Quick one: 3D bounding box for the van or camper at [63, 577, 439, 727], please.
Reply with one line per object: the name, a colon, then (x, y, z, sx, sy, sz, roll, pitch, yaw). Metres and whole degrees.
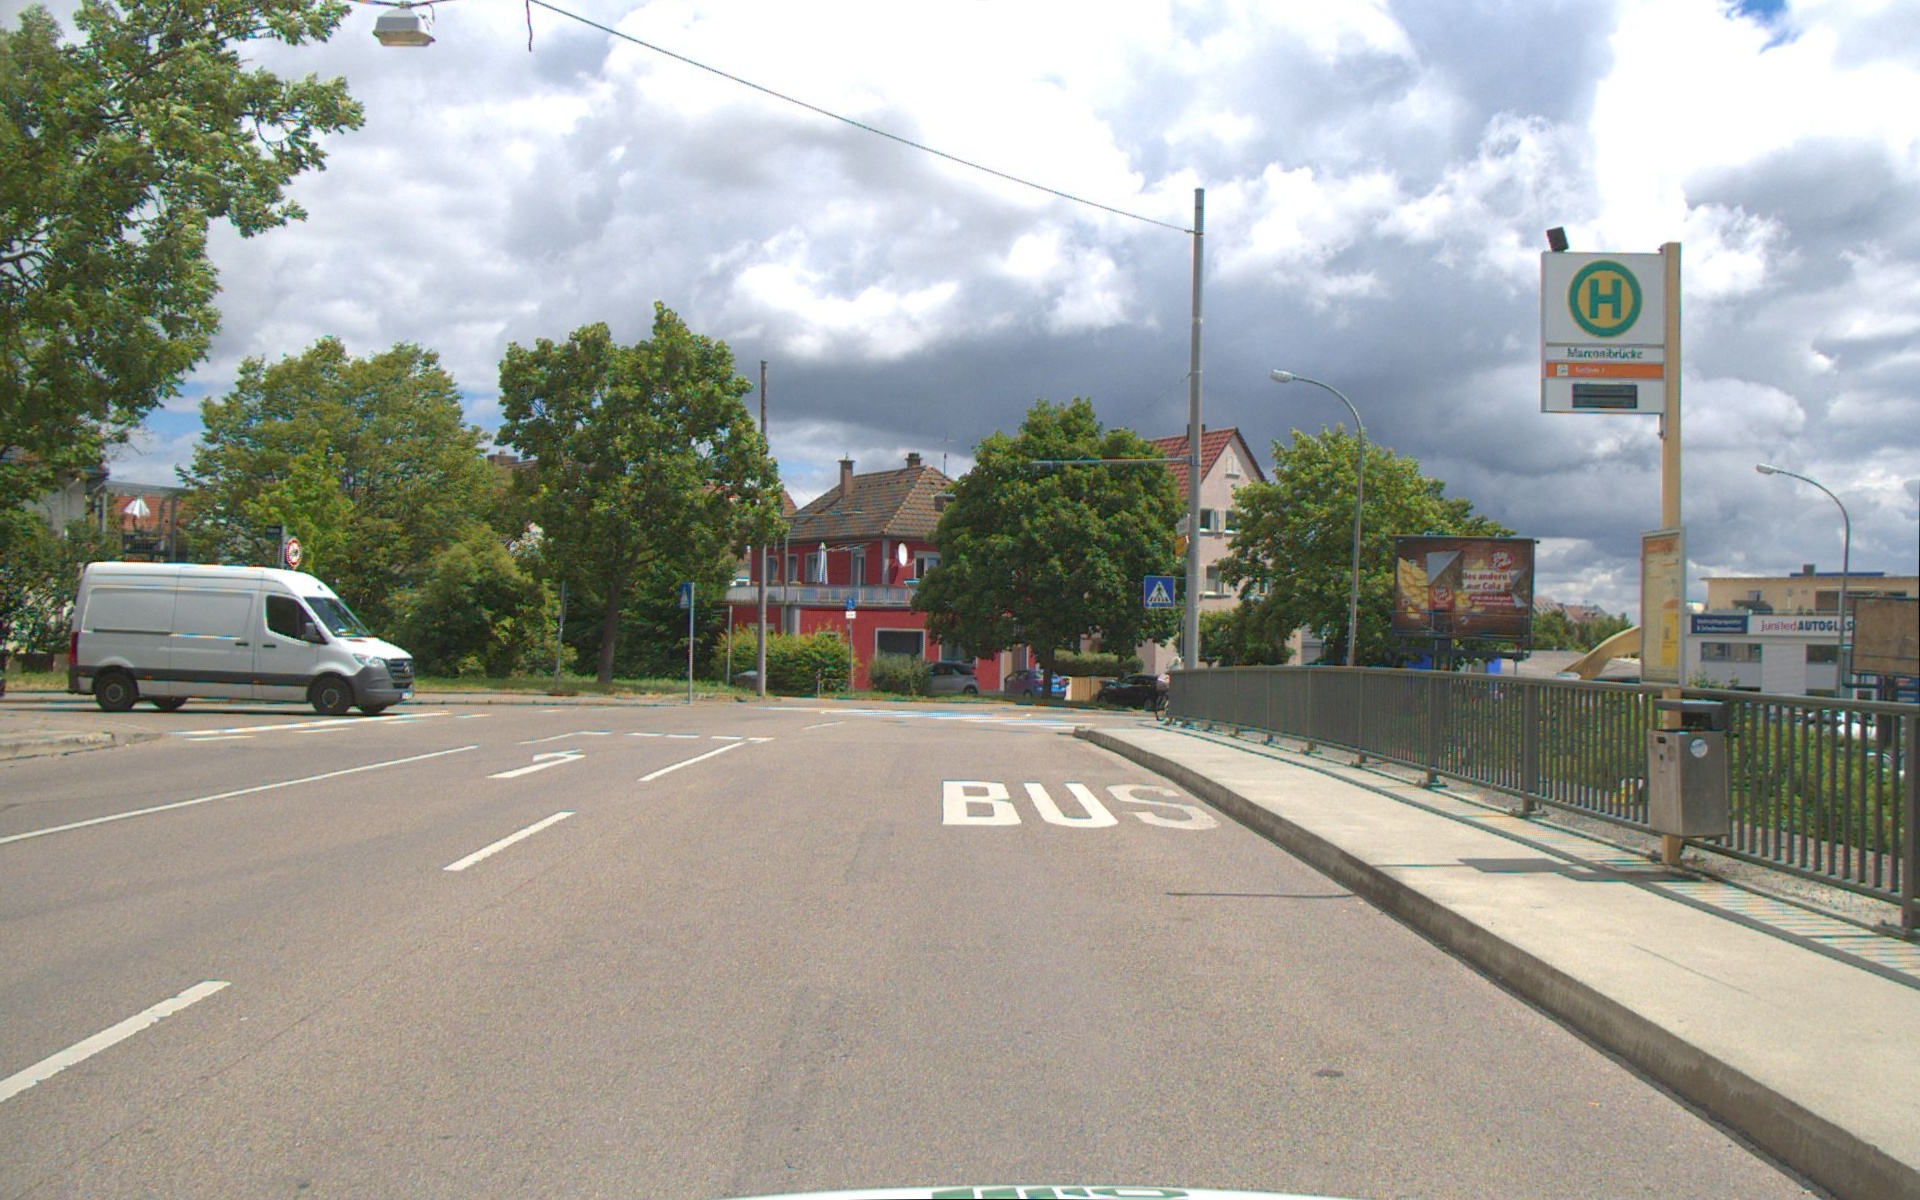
van or camper: (-12.737, 0.977, 30.000, 5.786, 2.612, 2.193, 0, -4, 1)

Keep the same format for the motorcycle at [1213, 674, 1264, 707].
motorcycle: (12.500, 4.074, 74.311, 2.209, 1.339, 0.909, 6, -3, -35)

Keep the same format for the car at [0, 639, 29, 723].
car: (-19.266, 1.436, 29.497, 4.129, 1.500, 2.000, 0, -2, 0)

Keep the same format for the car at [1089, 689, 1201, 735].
car: (6.787, 4.119, 61.020, 1.974, 1.418, 4.098, 5, -3, -32)

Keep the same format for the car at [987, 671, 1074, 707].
car: (2.909, 3.696, 68.814, 1.819, 1.402, 3.771, 4, -4, -32)

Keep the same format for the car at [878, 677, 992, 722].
car: (-0.931, 3.746, 62.248, 4.028, 1.450, 1.626, 5, -3, -34)

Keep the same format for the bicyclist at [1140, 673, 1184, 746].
bicyclist: (5.346, 2.894, 43.724, 0.673, 1.858, 1.076, -2, -7, 37)

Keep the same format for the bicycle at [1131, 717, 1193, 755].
bicycle: (5.348, 3.596, 43.673, 0.676, 0.894, 2.094, -2, -7, 35)

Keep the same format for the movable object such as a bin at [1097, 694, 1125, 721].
movable object such as a bin: (6.372, 4.544, 69.995, 0.868, 1.080, 0.751, 5, -3, -29)

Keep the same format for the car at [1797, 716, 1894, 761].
car: (34.046, 5.331, 63.562, 3.910, 1.505, 1.690, 5, -3, -35)
